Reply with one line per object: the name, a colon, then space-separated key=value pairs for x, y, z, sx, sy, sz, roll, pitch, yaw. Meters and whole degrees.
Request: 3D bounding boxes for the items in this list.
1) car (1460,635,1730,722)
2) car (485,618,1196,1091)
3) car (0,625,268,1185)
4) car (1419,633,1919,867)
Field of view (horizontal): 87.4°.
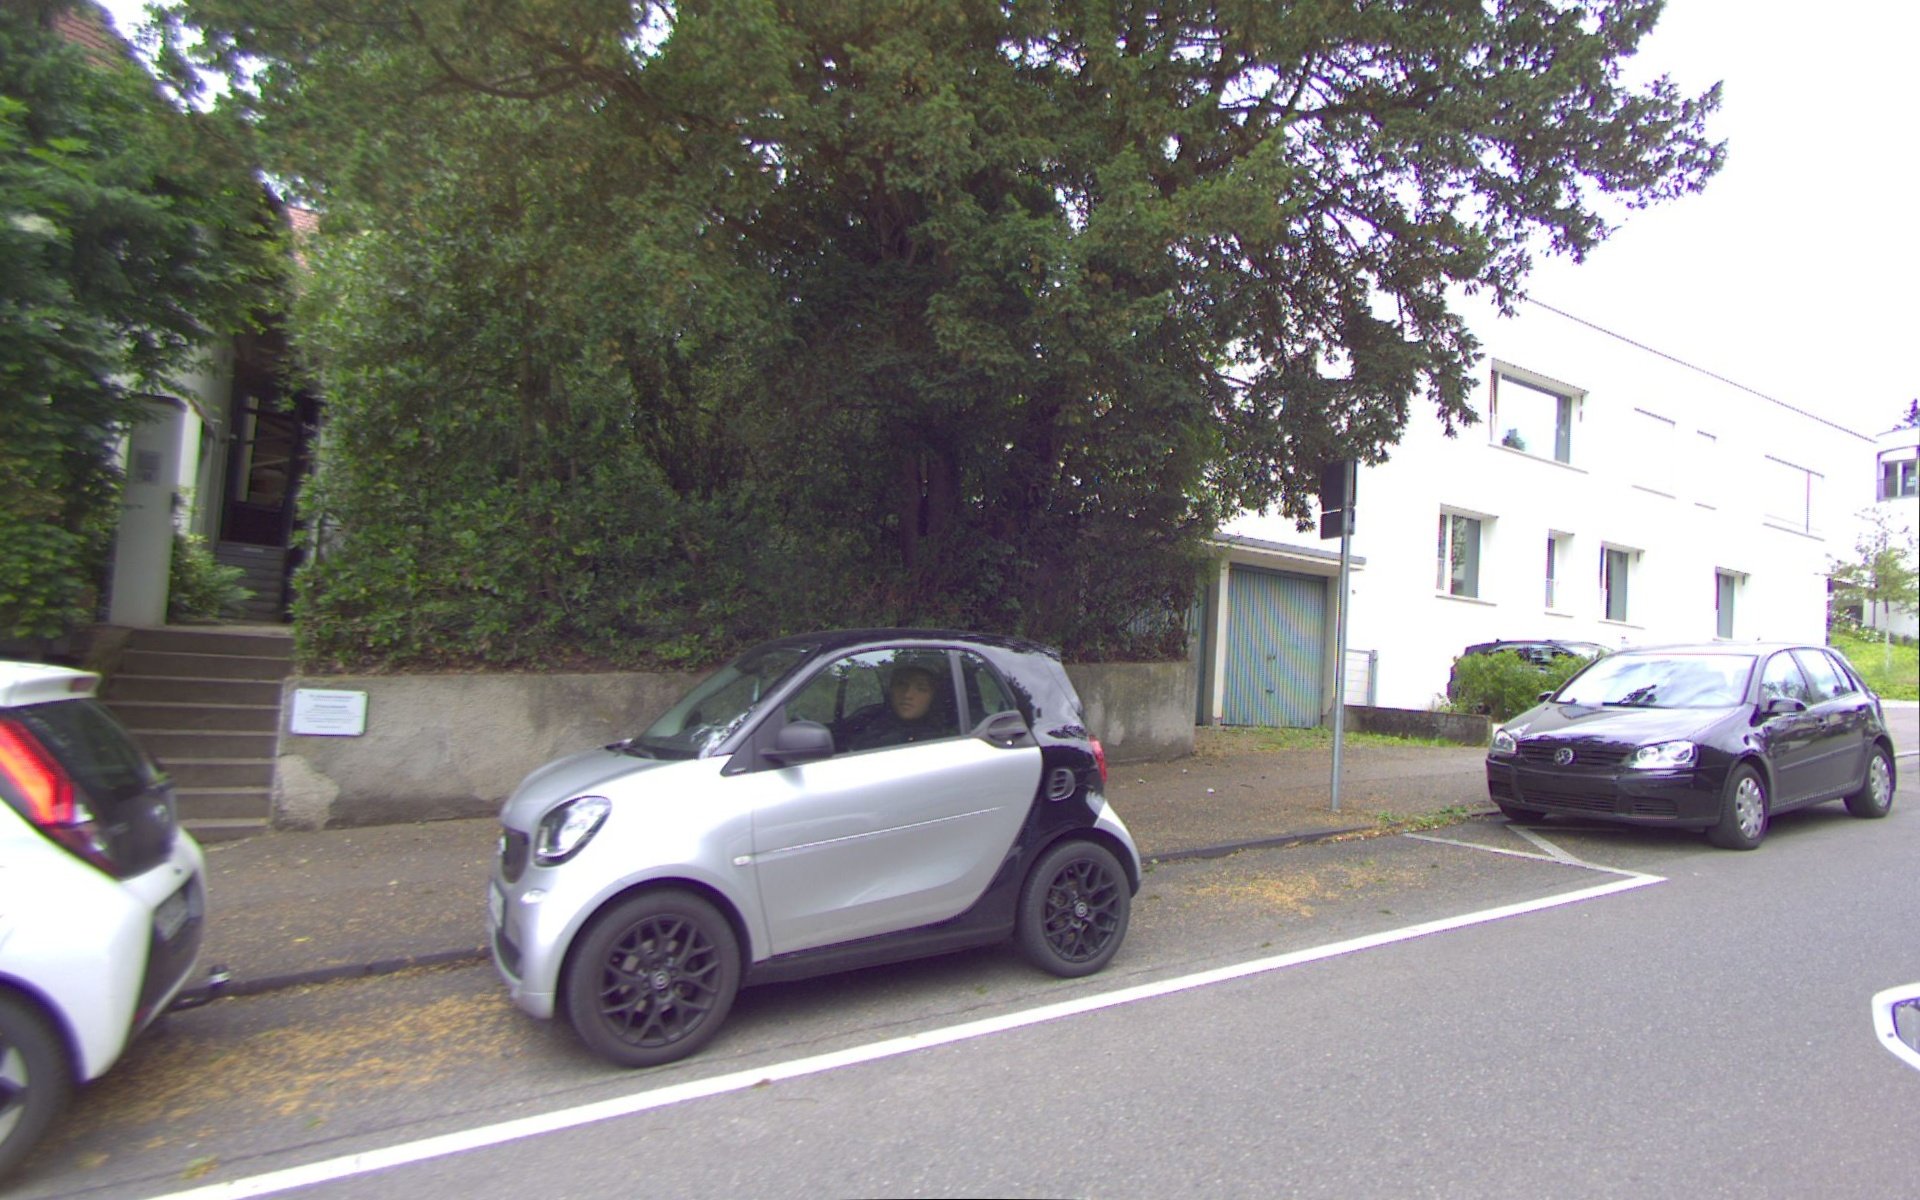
car: x=11.301 y=1.332 z=18.105 sx=1.724 sy=1.372 sz=3.771 roll=1 pitch=-2 yaw=-34
car: x=-0.540 y=0.894 z=4.746 sx=2.941 sy=1.538 sz=1.616 roll=2 pitch=-2 yaw=-31
car: x=-4.126 y=0.862 z=2.766 sx=3.471 sy=1.466 sz=1.738 roll=1 pitch=-5 yaw=-30
car: x=6.124 y=1.034 z=8.428 sx=4.629 sy=1.489 sz=1.841 roll=1 pitch=-3 yaw=-31
